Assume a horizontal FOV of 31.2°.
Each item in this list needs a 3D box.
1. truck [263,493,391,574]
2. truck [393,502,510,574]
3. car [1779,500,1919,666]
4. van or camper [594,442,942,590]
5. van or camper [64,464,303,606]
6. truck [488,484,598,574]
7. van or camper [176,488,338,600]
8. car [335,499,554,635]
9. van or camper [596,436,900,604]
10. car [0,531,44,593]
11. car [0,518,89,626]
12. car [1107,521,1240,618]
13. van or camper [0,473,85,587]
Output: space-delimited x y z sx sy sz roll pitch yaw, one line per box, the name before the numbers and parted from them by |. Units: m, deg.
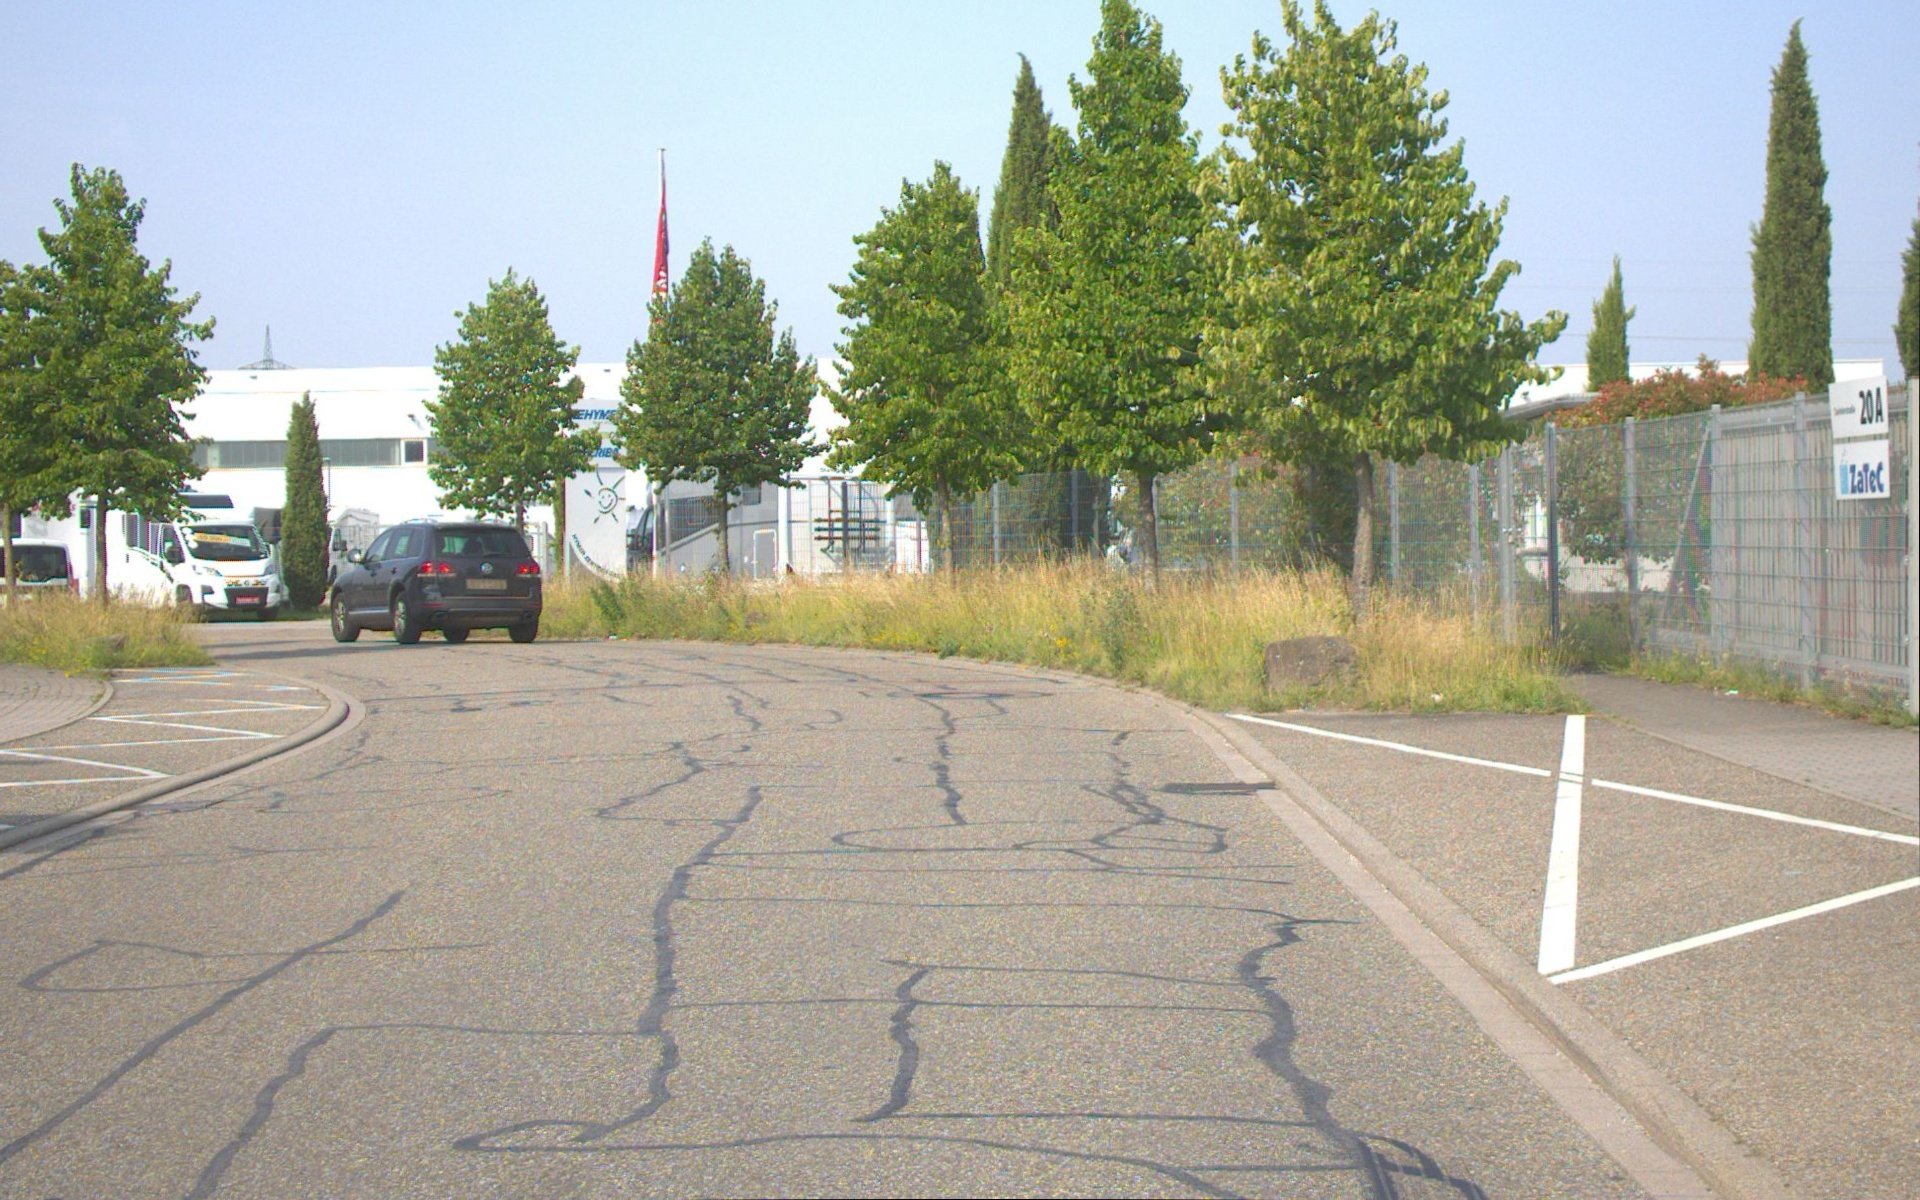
truck | -20.054 -2.124 109.362 2.450 2.462 8.002 0 1 1
truck | -16.493 -2.040 111.987 2.450 2.257 8.002 0 1 1
car | 8.686 -0.182 29.614 1.880 1.353 4.774 -1 1 -3
van or camper | -4.136 -1.793 73.435 7.257 3.021 2.586 -1 1 -5
van or camper | -16.862 -1.408 74.304 2.331 2.933 6.969 -1 1 -37
truck | -13.510 -2.307 111.897 2.450 2.816 8.002 0 1 1
van or camper | -16.716 -1.384 82.148 2.483 2.550 6.626 0 2 0
car | -7.207 -0.453 47.746 1.993 1.798 4.001 0 0 -24
van or camper | -3.925 -1.395 61.802 2.349 2.838 7.342 -1 1 -31
car | -23.873 -0.887 82.025 2.167 1.471 3.997 -1 1 16
car | -17.981 -0.518 62.774 1.995 1.893 4.464 -2 2 -45
car | 3.723 -0.563 60.559 1.722 1.637 4.001 1 1 -5
van or camper | -27.021 -1.995 96.991 2.662 3.073 6.795 0 2 2
